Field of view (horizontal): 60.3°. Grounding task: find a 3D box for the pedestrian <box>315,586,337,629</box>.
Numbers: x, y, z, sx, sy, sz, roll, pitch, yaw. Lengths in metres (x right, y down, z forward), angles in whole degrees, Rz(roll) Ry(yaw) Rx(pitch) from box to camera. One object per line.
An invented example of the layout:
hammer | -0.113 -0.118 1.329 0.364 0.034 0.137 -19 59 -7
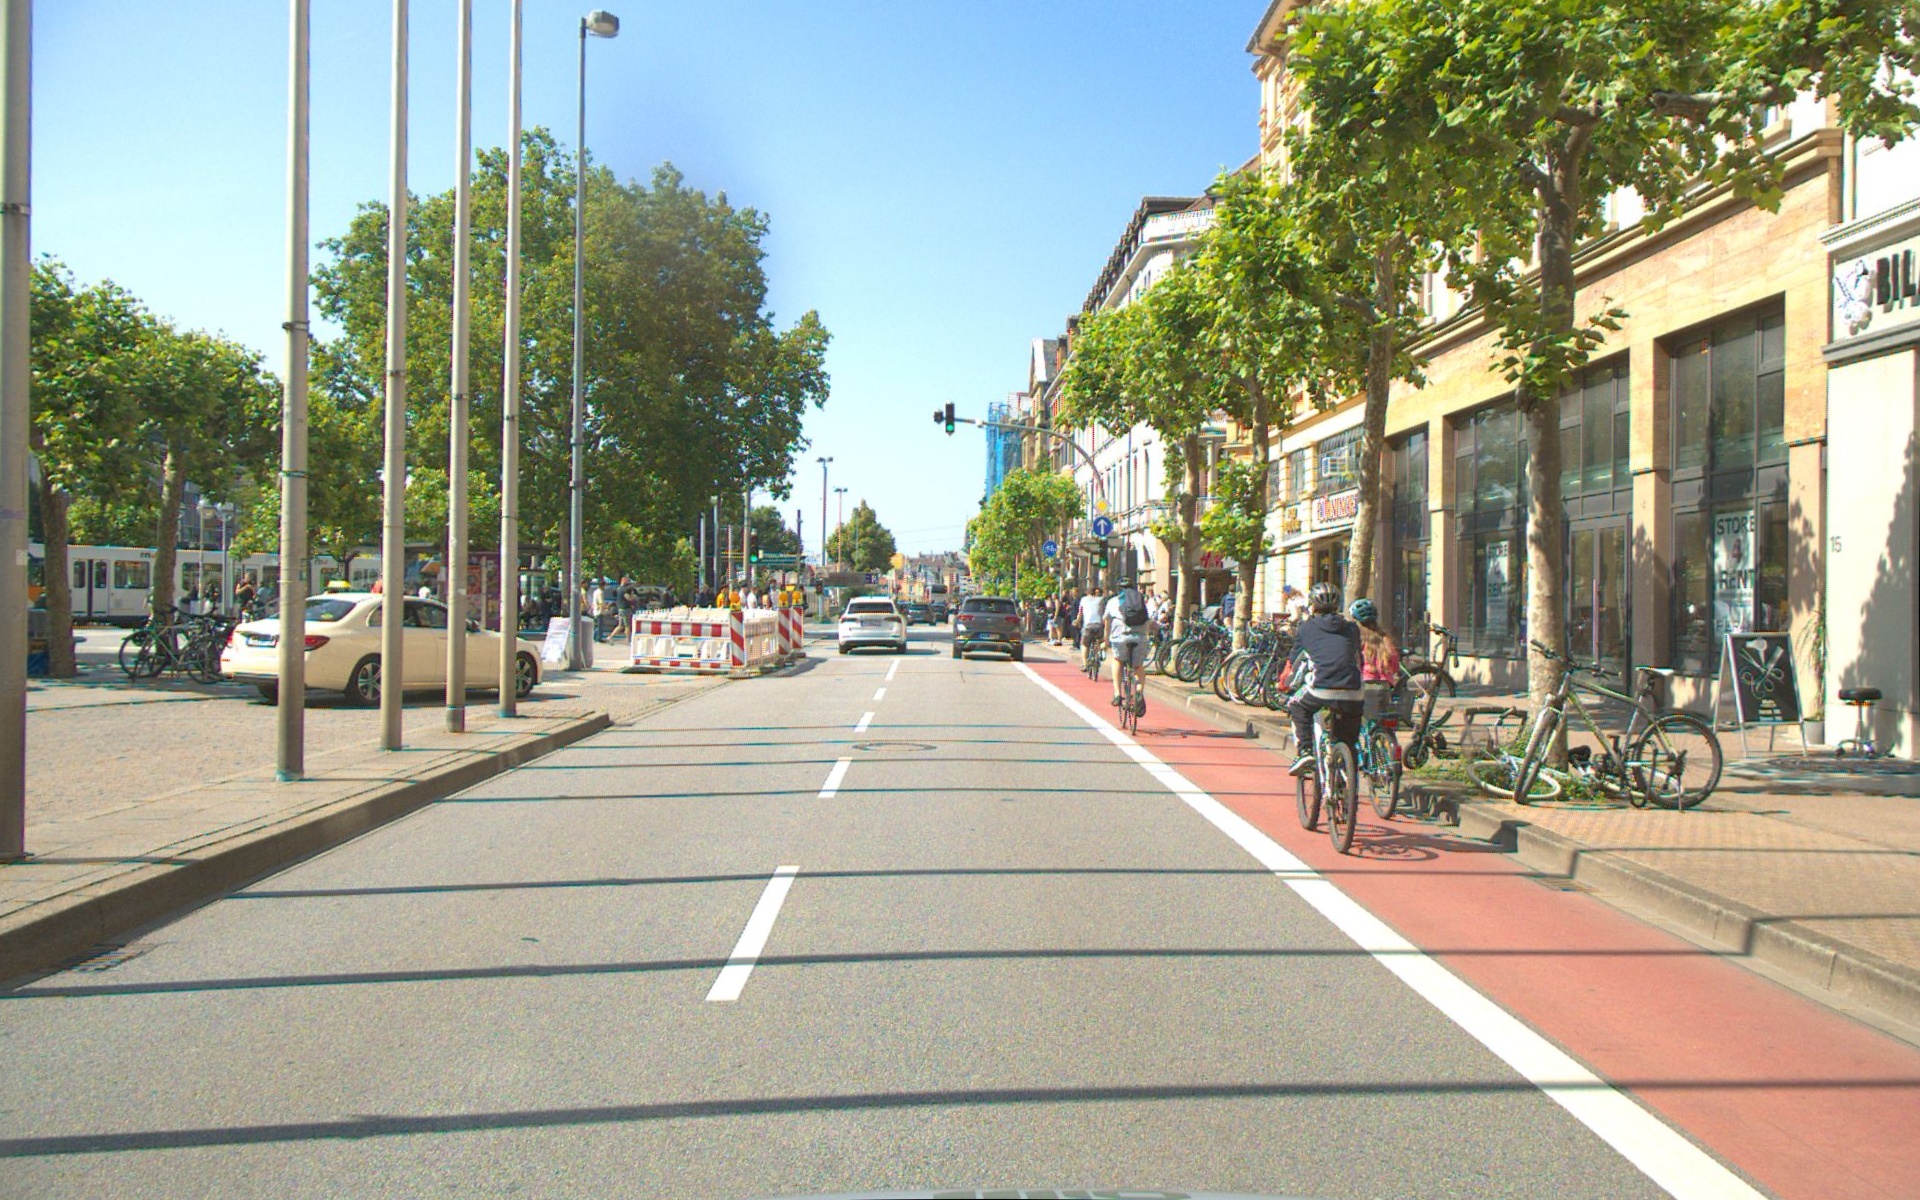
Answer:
pedestrian | -19.390 0.229 50.554 0.601 1.284 0.608 1 0 -23

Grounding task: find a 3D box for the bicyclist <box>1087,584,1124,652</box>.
bicyclist | 3.995 0.481 45.313 0.569 1.828 0.846 -2 1 -36

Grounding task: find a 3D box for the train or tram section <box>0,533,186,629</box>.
train or tram section | -37.421 -0.740 67.274 2.567 3.741 10.967 1 0 34

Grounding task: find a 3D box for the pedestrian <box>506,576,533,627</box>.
pedestrian | -16.243 0.058 60.990 0.619 1.841 0.615 -4 -2 19

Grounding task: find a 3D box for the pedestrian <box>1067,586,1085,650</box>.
pedestrian | 3.544 0.540 50.584 0.512 1.931 0.641 -1 -1 2

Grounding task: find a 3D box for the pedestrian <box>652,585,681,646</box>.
pedestrian | -9.181 0.471 51.752 0.619 1.891 0.687 0 -1 20

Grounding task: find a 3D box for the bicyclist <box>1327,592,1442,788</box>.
bicyclist | 3.109 0.646 12.150 0.588 1.381 0.720 2 -1 -4

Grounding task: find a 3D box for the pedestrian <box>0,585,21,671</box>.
pedestrian | -15.182 0.425 25.927 0.661 1.332 0.684 1 0 -19

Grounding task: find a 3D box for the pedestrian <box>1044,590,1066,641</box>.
pedestrian | 3.380 0.555 58.853 0.598 1.770 0.677 -4 -1 -3

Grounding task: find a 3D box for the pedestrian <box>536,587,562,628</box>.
pedestrian | -15.119 0.285 60.840 0.619 1.504 0.731 0 -1 20

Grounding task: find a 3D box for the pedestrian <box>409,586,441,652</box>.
pedestrian | -14.477 0.516 44.737 0.564 1.769 0.606 2 -1 5

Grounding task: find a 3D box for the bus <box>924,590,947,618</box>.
bus | -3.362 0.566 223.016 2.934 3.657 11.740 1 -1 -2

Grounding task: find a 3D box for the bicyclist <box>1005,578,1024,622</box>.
bicyclist | 1.990 0.014 60.200 0.634 1.578 0.817 1 0 -1

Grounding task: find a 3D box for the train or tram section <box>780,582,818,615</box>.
train or tram section | -17.334 -0.154 178.368 2.558 3.407 11.005 1 0 2

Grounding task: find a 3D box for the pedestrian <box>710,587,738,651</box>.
pedestrian | -6.519 0.532 45.692 0.534 1.748 0.599 2 -1 -32

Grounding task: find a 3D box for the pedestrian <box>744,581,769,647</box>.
pedestrian | -5.580 0.375 45.314 0.425 1.770 0.599 2 -1 -32

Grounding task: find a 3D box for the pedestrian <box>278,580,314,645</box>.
pedestrian | -16.370 0.304 40.795 0.564 1.559 0.606 2 -1 5

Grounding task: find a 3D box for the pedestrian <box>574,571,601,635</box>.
pedestrian | -10.578 0.088 47.001 0.572 1.751 0.790 1 4 1

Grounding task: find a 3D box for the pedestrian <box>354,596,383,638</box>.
pedestrian | -18.318 0.537 51.210 0.600 1.284 0.609 0 0 35

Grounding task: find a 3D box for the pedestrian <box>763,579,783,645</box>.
pedestrian | -5.592 0.365 49.524 0.521 1.953 0.560 1 -1 1

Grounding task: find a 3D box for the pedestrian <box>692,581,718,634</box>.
pedestrian | -9.074 0.263 58.780 0.619 1.842 0.731 0 -1 20

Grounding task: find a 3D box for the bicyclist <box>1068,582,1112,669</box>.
bicyclist | 2.512 0.482 32.044 0.758 1.664 0.851 0 0 -1

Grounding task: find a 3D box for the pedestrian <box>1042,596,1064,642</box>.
pedestrian | 3.155 0.643 56.335 0.598 1.541 0.677 -4 -1 -3

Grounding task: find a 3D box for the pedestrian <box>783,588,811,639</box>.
pedestrian | -5.243 0.436 53.236 0.619 1.623 0.687 0 -1 20

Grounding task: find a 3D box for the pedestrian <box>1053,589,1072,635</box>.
pedestrian | 3.892 0.467 62.927 0.571 1.703 0.605 -2 -1 -3

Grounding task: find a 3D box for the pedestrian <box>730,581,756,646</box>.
pedestrian | -6.098 0.380 46.479 0.528 1.811 0.606 2 -1 5

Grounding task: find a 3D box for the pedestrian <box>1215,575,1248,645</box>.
pedestrian | 7.146 0.274 43.533 0.644 1.821 1.232 1 -2 -1

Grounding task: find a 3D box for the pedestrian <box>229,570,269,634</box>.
pedestrian | -20.013 0.058 46.554 0.593 1.780 0.802 1 -1 30

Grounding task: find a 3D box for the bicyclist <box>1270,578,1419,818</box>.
bicyclist | 2.452 0.606 10.619 0.685 1.466 0.790 2 0 -5

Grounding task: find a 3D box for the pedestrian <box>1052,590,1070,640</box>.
pedestrian | 3.813 0.576 62.542 0.598 1.855 0.677 1 -1 -3

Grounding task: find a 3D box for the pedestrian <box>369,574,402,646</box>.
pedestrian | -15.550 0.276 44.769 0.656 1.912 0.624 2 -1 -34

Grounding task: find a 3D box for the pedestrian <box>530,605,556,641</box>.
pedestrian | -15.574 0.850 61.779 0.619 1.316 0.731 0 -1 20

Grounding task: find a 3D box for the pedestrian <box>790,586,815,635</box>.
pedestrian | -6.068 0.399 63.732 0.620 1.866 0.730 0 -1 28

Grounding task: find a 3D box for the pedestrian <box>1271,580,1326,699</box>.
pedestrian | 4.771 0.543 23.310 0.602 1.640 0.745 1 0 0

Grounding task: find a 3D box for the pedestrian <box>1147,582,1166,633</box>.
pedestrian | 6.338 0.249 53.469 0.512 1.637 0.641 -1 -1 -1

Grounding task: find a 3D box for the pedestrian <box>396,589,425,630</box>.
pedestrian | -17.192 0.295 51.781 0.599 1.284 0.611 1 0 25

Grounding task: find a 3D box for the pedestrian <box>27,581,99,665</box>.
pedestrian | -15.357 0.389 28.332 0.657 1.405 0.898 1 0 8

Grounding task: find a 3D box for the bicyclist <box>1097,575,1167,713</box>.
bicyclist | 1.946 0.478 18.817 0.617 1.507 1.198 1 0 -2

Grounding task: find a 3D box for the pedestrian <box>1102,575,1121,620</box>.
pedestrian | 6.182 -0.085 67.511 0.662 1.823 0.612 1 -1 -1

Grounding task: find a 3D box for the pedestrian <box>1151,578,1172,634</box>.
pedestrian | 6.064 0.191 49.765 0.537 1.669 0.589 -1 -1 2

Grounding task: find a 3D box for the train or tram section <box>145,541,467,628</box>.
train or tram section | -30.331 -0.619 78.075 2.567 3.741 15.502 1 0 33

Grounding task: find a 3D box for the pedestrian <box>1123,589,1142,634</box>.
pedestrian | 6.463 0.428 61.898 0.598 1.646 0.677 1 1 -3

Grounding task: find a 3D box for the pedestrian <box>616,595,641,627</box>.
pedestrian | -12.098 0.396 60.293 0.619 1.164 0.665 0 -1 20

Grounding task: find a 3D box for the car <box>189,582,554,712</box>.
car | -7.996 0.628 23.022 1.854 1.569 4.857 1 -1 26
